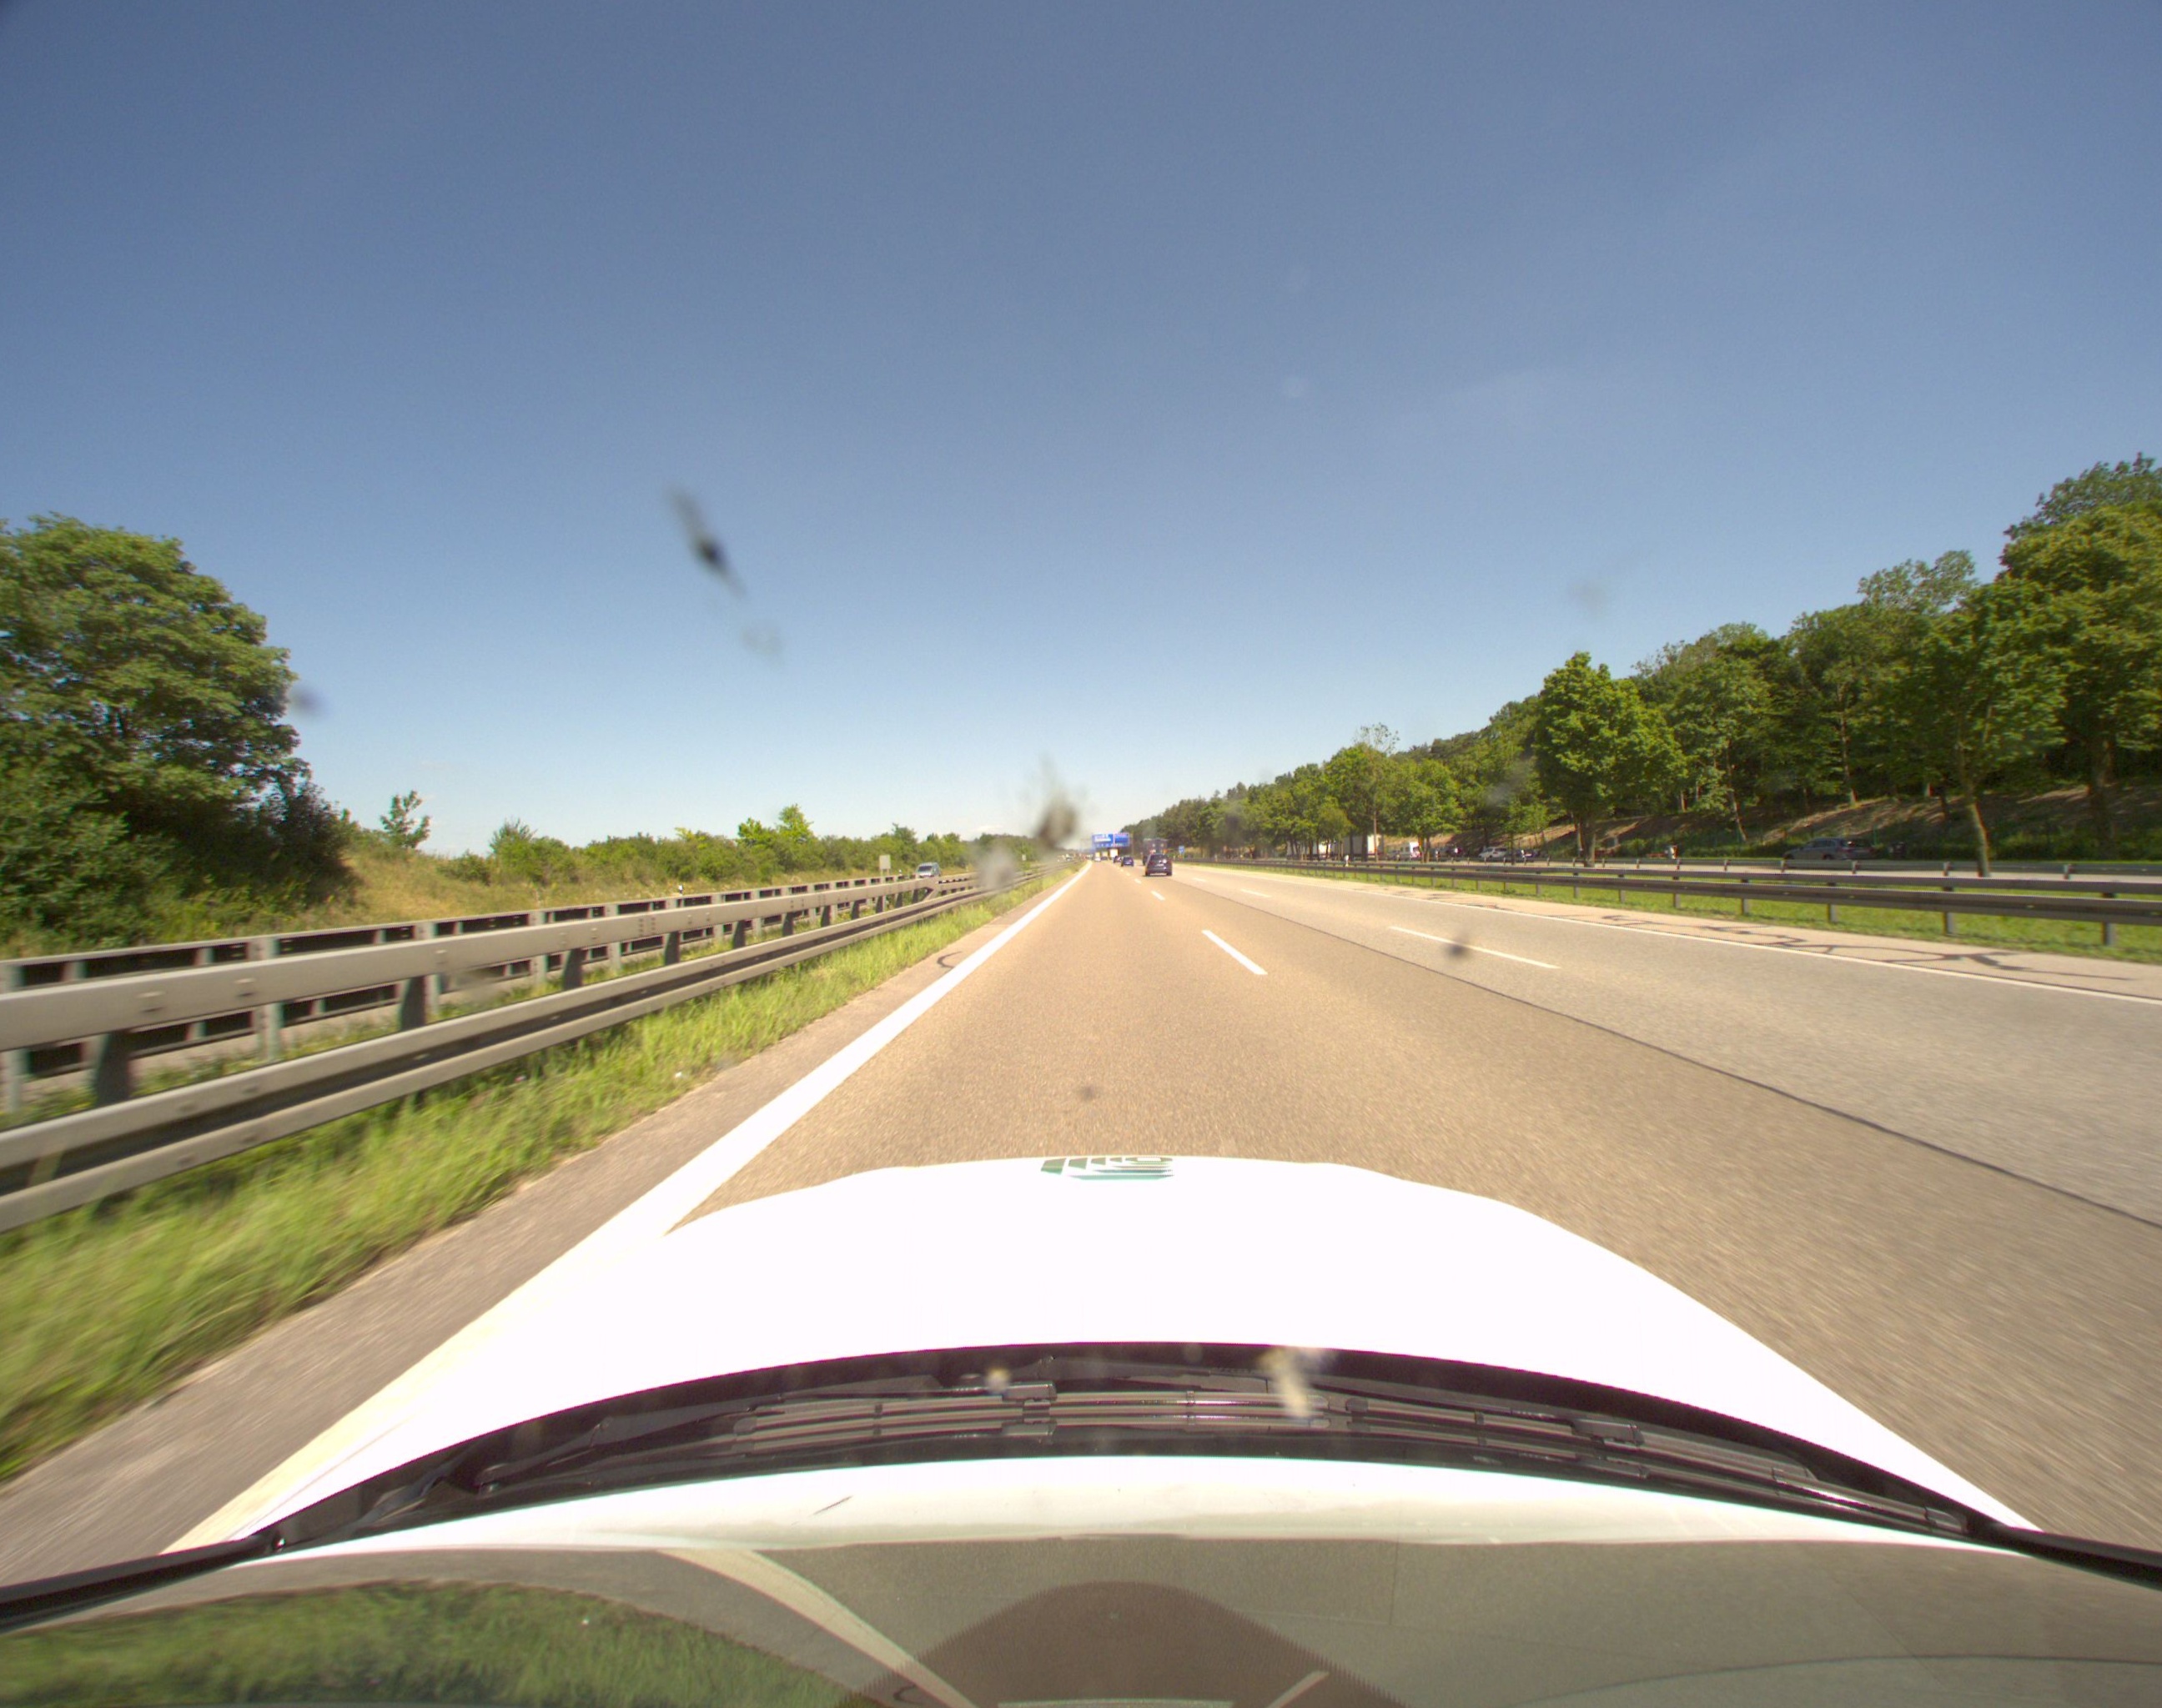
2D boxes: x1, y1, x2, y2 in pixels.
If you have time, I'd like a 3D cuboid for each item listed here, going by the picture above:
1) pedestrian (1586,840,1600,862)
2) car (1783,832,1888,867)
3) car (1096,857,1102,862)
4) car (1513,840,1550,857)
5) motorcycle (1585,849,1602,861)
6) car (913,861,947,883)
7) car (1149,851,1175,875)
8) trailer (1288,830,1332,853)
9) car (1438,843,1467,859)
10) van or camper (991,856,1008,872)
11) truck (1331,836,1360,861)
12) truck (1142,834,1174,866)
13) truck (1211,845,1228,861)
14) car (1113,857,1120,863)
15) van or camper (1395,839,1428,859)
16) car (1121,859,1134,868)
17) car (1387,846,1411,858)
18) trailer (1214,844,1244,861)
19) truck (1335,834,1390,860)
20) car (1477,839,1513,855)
[{"bbox_3d":[42.379,-0.253,67.440,0.792,1.782,0.645,-2,0,15],"label":"pedestrian"},{"bbox_3d":[39.326,-0.252,42.589,1.981,1.651,4.331,-3,0,11],"label":"car"},{"bbox_3d":[4.927,1.459,220.503,1.465,1.227,3.412,-2,0,2],"label":"car"},{"bbox_3d":[44.568,-0.515,80.603,1.981,1.574,4.011,-2,0,10],"label":"car"},{"bbox_3d":[43.408,0.084,69.001,0.555,1.030,1.676,-2,0,7],"label":"motorcycle"},{"bbox_3d":[-14.135,1.621,76.403,1.986,1.835,5.334,-4,0,1],"label":"car"},{"bbox_3d":[5.847,0.640,59.141,1.791,1.669,4.263,-1,0,4],"label":"car"},{"bbox_3d":[42.498,-2.202,151.664,2.854,3.796,14.161,-1,0,-5],"label":"trailer"},{"bbox_3d":[44.171,-0.344,96.988,1.647,1.877,4.808,-2,0,6],"label":"car"},{"bbox_3d":[-13.621,1.667,136.159,1.986,2.392,6.243,-3,0,1],"label":"van or camper"},{"bbox_3d":[44.194,-0.917,136.259,2.964,3.931,4.828,-2,0,-3],"label":"truck"},{"bbox_3d":[11.282,-0.582,120.769,3.766,4.422,14.056,-2,0,2],"label":"truck"},{"bbox_3d":[34.410,-0.216,202.161,2.573,3.915,4.846,-1,0,-12],"label":"truck"},{"bbox_3d":[7.654,1.276,174.748,1.465,1.398,3.412,0,0,2],"label":"car"},{"bbox_3d":[44.594,-0.681,109.957,2.195,2.530,5.878,-2,0,2],"label":"van or camper"},{"bbox_3d":[6.617,1.281,115.570,1.702,1.155,3.691,-2,0,2],"label":"car"},{"bbox_3d":[44.994,-0.228,115.435,1.650,1.597,4.556,-2,0,1],"label":"car"},{"bbox_3d":[35.587,-0.190,196.380,2.573,3.915,12.697,-1,0,-12],"label":"trailer"},{"bbox_3d":[44.531,-0.986,129.412,2.989,3.931,14.444,-2,0,-3],"label":"truck"},{"bbox_3d":[44.276,-0.710,87.240,1.649,1.675,4.655,-2,0,3],"label":"car"}]
